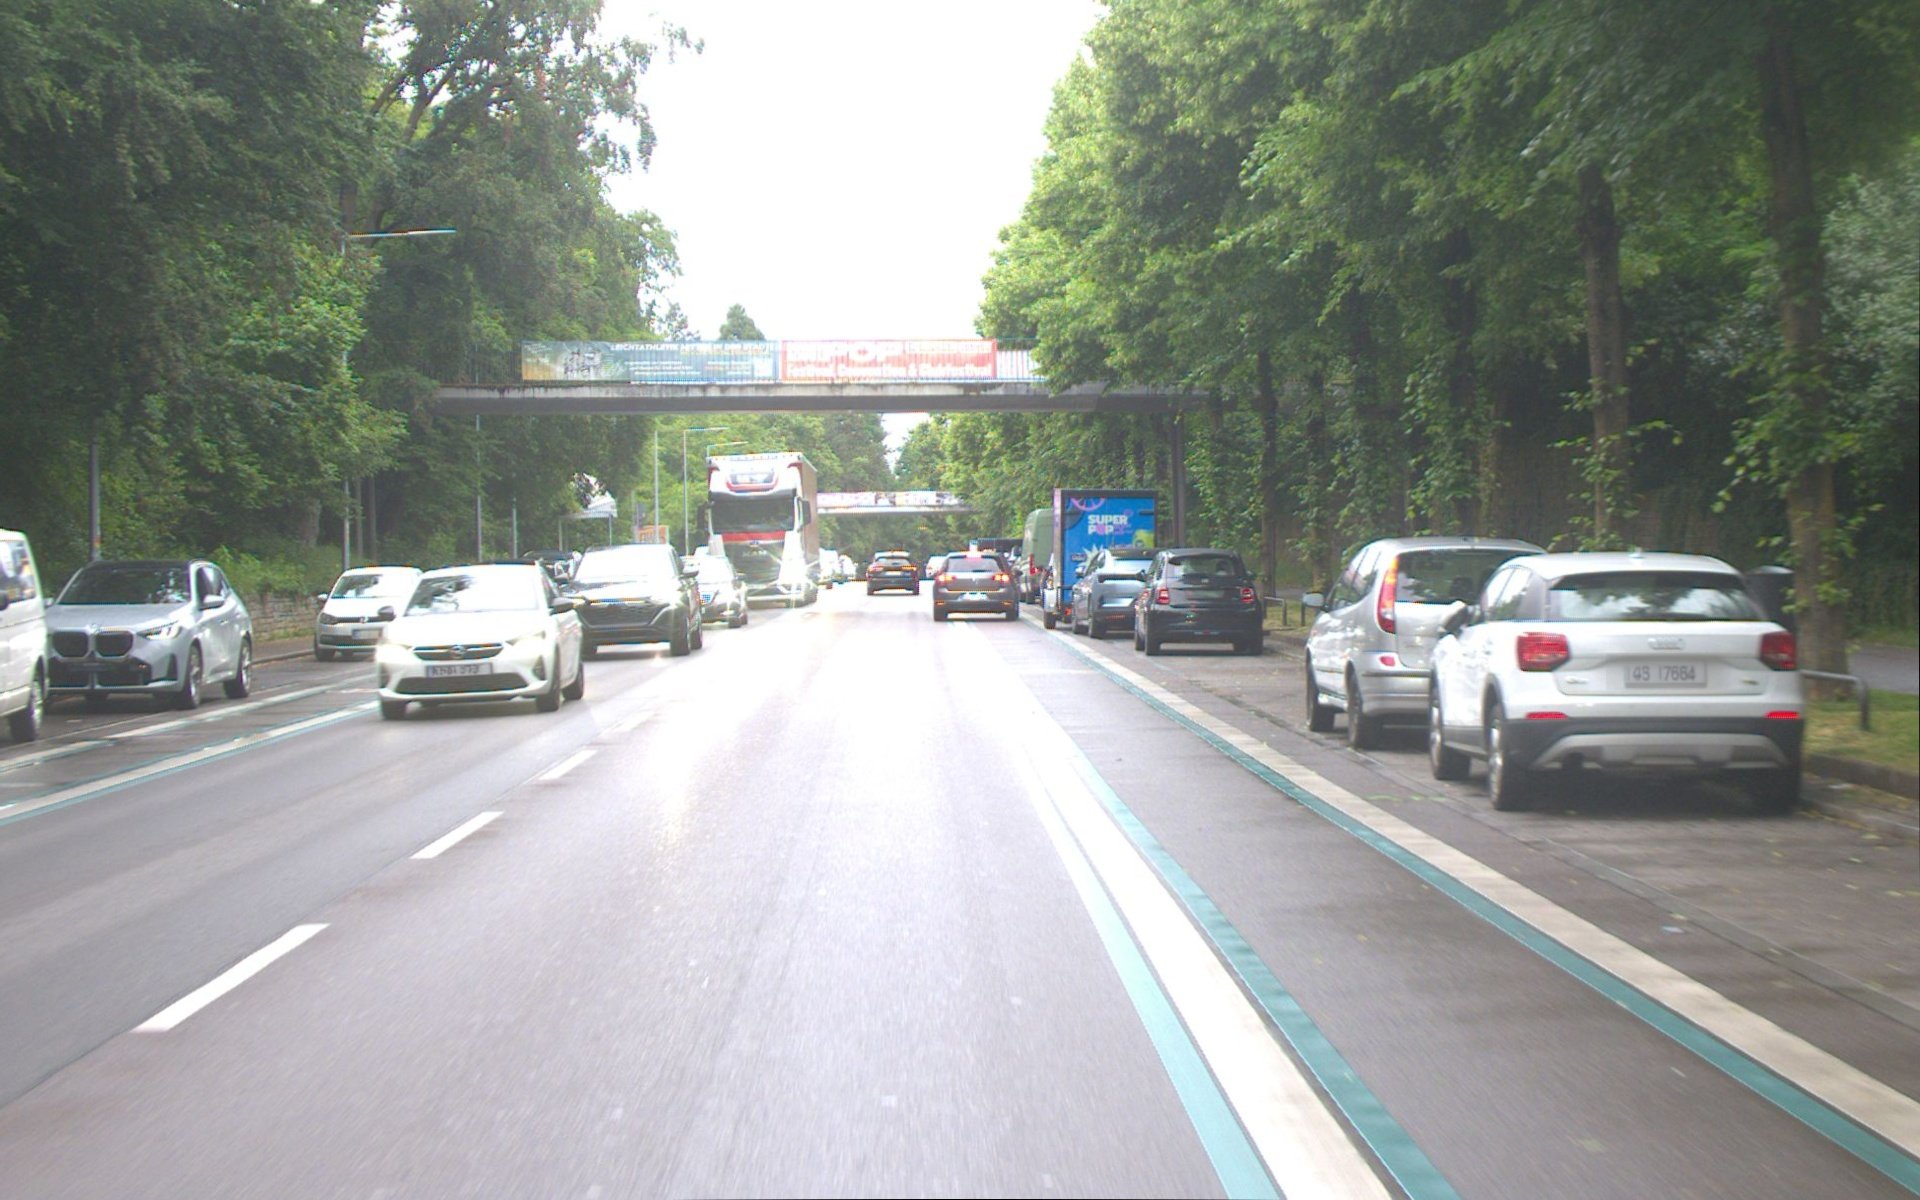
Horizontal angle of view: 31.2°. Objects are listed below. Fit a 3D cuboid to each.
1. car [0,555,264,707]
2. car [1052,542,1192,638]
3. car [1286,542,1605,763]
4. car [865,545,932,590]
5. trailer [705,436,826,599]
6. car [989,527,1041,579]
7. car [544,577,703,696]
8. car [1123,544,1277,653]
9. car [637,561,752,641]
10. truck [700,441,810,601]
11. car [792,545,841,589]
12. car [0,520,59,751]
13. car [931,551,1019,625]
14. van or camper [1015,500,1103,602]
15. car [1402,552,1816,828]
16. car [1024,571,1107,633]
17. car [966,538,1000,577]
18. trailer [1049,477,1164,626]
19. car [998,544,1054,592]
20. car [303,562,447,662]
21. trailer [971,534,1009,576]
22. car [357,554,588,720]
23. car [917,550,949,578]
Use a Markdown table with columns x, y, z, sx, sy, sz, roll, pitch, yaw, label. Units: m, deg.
| x | y | z | sx | sy | sz | roll | pitch | yaw | label |
| --- | --- | --- | --- | --- | --- | --- | --- | --- | --- |
| -9.348 | 0.298 | 39.121 | 2.010 | 1.600 | 4.780 | 0 | 1 | -2 | car |
| 2.755 | -0.204 | 59.431 | 1.899 | 1.542 | 4.756 | 1 | 1 | -3 | car |
| 3.746 | 0.344 | 27.297 | 1.753 | 1.591 | 4.740 | 0 | 1 | -1 | car |
| -2.128 | -1.110 | 117.160 | 2.140 | 1.487 | 4.499 | 1 | 1 | -3 | car |
| -5.488 | -2.329 | 98.995 | 2.687 | 4.244 | 12.770 | -3 | 1 | -1 | trailer |
| 2.153 | -1.853 | 135.724 | 1.926 | 2.015 | 4.664 | 1 | 1 | -1 | car |
| -4.956 | 0.504 | 51.171 | 1.961 | 1.611 | 4.466 | -1 | 1 | -1 | car |
| 3.472 | -0.060 | 50.496 | 1.825 | 1.498 | 4.571 | -1 | 1 | -1 | car |
| -5.346 | 0.002 | 69.680 | 1.915 | 1.451 | 4.621 | -3 | 1 | 0 | car |
| -5.414 | -2.088 | 91.547 | 2.517 | 4.032 | 4.917 | -3 | 1 | -1 | truck |
| -5.717 | -1.328 | 137.425 | 1.834 | 1.661 | 4.181 | -3 | 1 | -1 | car |
| -9.319 | 0.298 | 30.089 | 1.973 | 1.998 | 5.019 | 0 | 1 | -5 | car |
| 0.312 | -0.282 | 73.178 | 1.818 | 1.503 | 4.139 | 0 | 1 | 0 | car |
| 2.721 | -1.375 | 96.388 | 2.042 | 2.720 | 6.901 | 1 | 1 | -2 | van or camper |
| 3.907 | 0.471 | 21.419 | 1.698 | 1.508 | 4.469 | 1 | 1 | 0 | car |
| 2.518 | 0.039 | 83.071 | 1.686 | 1.412 | 4.197 | 1 | 1 | -2 | car |
| 1.322 | -2.412 | 195.674 | 1.889 | 2.120 | 4.045 | -1 | 1 | 0 | car |
| 2.753 | -0.929 | 65.382 | 1.952 | 2.749 | 4.007 | 0 | 1 | -1 | trailer |
| 2.232 | -1.098 | 117.309 | 1.756 | 1.584 | 4.499 | 1 | 1 | -1 | car |
| -9.446 | 0.167 | 55.768 | 1.789 | 1.477 | 3.983 | -1 | 1 | -3 | car |
| 1.548 | -2.345 | 179.075 | 1.884 | 2.158 | 3.808 | -1 | 1 | 0 | trailer |
| -4.779 | 0.318 | 34.210 | 1.775 | 1.461 | 4.063 | -3 | 1 | -2 | car |
| -1.566 | -2.056 | 196.348 | 1.731 | 1.578 | 4.037 | -1 | 1 | -1 | car |
